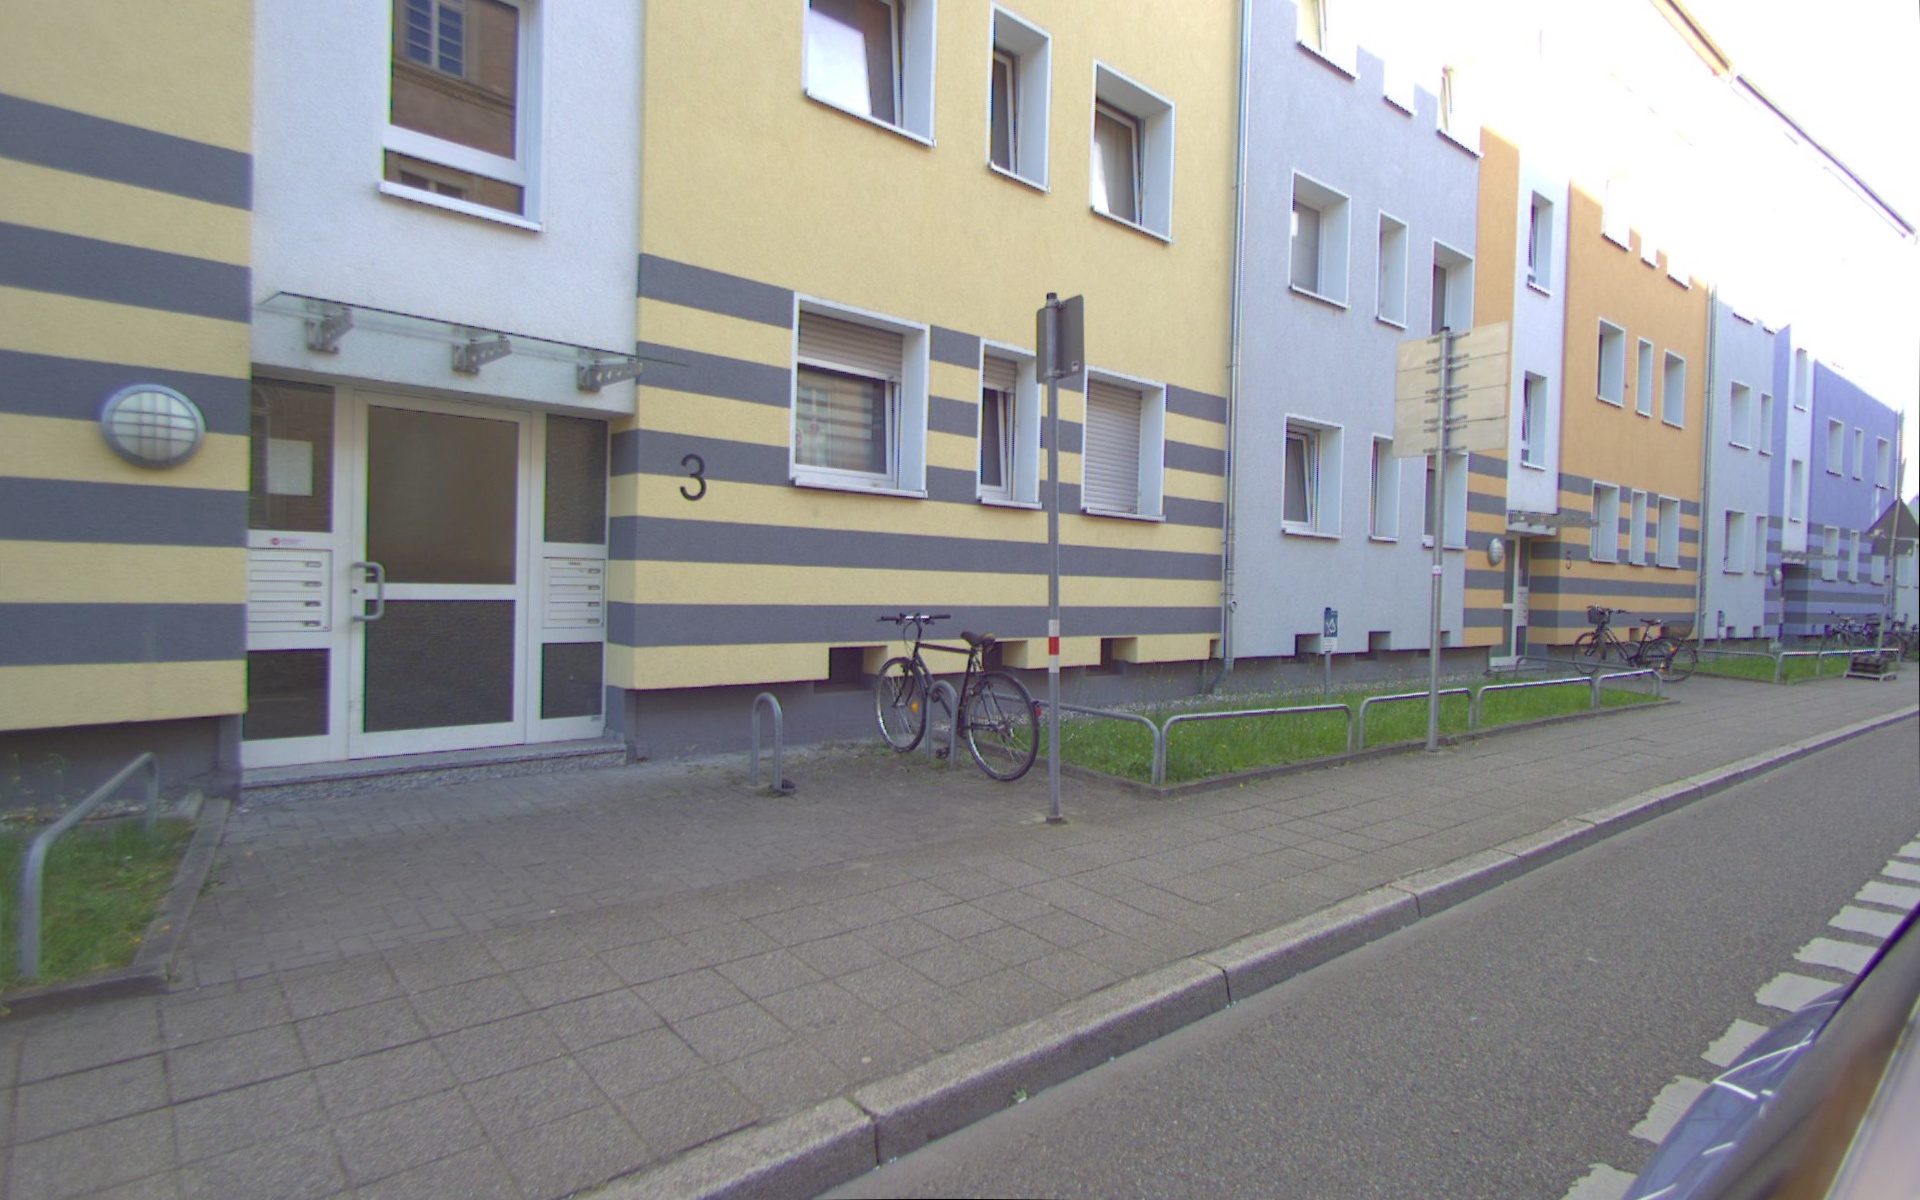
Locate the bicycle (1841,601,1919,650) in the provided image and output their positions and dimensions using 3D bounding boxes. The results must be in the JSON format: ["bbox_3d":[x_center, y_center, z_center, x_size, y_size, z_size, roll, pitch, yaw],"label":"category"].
[{"bbox_3d":[23.306,0.631,25.419,0.475,1.166,1.678,1,1,-37],"label":"bicycle"}]

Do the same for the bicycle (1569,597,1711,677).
[{"bbox_3d":[10.686,0.552,15.944,1.775,1.137,0.476,3,1,44],"label":"bicycle"}]

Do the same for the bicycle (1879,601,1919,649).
[{"bbox_3d":[24.133,0.643,25.276,0.475,1.166,1.678,1,1,-37],"label":"bicycle"}]

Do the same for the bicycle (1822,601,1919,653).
[{"bbox_3d":[22.225,0.648,24.727,0.475,1.166,1.678,1,1,-37],"label":"bicycle"}]

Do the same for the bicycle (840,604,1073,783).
[{"bbox_3d":[-0.075,0.580,7.015,1.775,1.031,0.476,3,1,44],"label":"bicycle"}]
